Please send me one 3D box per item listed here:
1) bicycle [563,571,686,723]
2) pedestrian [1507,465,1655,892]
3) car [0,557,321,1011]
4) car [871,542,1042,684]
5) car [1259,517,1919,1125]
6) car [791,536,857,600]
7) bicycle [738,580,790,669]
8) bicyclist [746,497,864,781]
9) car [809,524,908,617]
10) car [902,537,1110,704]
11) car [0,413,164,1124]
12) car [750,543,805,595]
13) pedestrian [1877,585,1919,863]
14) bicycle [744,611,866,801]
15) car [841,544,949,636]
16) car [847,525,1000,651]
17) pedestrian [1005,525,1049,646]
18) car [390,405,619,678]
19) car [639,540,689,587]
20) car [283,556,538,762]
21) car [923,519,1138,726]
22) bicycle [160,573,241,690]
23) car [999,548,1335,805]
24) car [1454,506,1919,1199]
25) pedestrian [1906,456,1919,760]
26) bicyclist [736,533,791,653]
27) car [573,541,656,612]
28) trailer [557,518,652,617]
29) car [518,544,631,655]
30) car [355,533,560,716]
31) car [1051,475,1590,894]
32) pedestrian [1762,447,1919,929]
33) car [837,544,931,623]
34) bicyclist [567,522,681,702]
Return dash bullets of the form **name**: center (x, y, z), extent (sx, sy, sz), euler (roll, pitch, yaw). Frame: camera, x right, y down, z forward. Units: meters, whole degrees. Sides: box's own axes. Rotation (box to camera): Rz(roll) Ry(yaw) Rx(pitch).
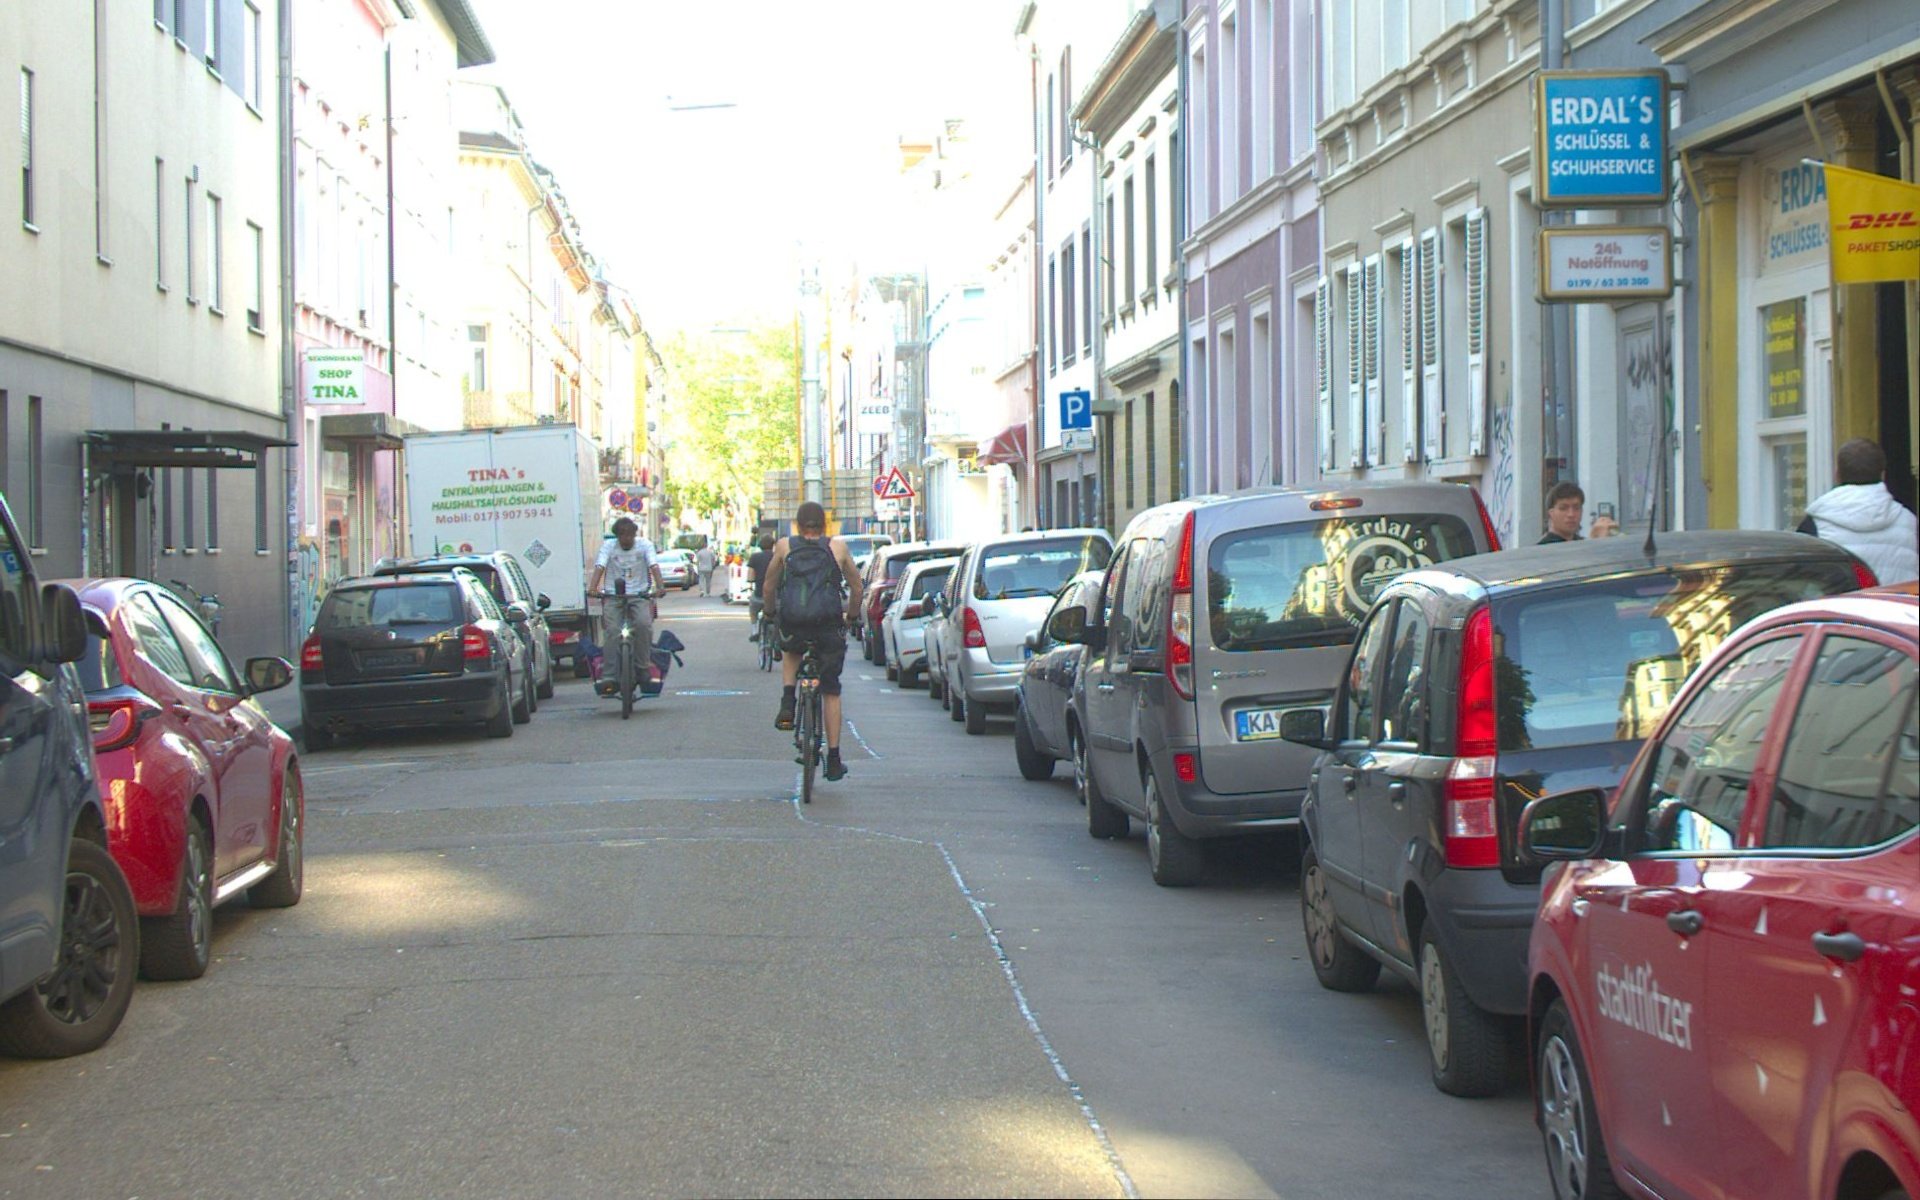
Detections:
- **bicycle**: center (-3.146, 0.415, 32.471), extent (0.977, 1.310, 2.555), euler (-2, 1, -3)
- **pedestrian**: center (2.524, 0.312, 14.019), extent (0.441, 1.698, 0.655), euler (0, 0, -3)
- **car**: center (-3.713, 0.654, 13.673), extent (1.750, 1.517, 3.869), euler (-4, 1, -3)
- **car**: center (-0.089, 0.128, 41.076), extent (1.686, 1.538, 4.047), euler (-3, 1, -4)
- **car**: center (1.974, 0.577, 10.936), extent (1.569, 1.551, 3.314), euler (-4, 1, -2)
- **car**: center (-3.573, -0.837, 89.721), extent (1.611, 1.628, 3.611), euler (0, 0, -4)
- **bicycle**: center (-2.583, 0.305, 45.137), extent (0.648, 1.126, 2.136), euler (0, 0, -4)
- **bicyclist**: center (-0.946, 0.226, 20.770), extent (0.667, 1.671, 1.097), euler (0, 0, -4)
- **car**: center (-2.181, -0.615, 72.707), extent (1.750, 1.872, 3.973), euler (-2, 1, -6)
- **car**: center (0.411, 0.181, 35.598), extent (1.696, 1.538, 4.629), euler (-3, 1, -4)
- **car**: center (-3.515, 0.448, 8.568), extent (2.020, 1.873, 5.297), euler (0, 1, -2)
- **car**: center (-5.648, -0.956, 106.130), extent (1.611, 1.555, 3.611), euler (0, 0, -4)
- **pedestrian**: center (4.392, 0.542, 15.346), extent (0.438, 1.218, 0.514), euler (0, 0, -2)
- **bicycle**: center (-0.955, 0.615, 20.830), extent (0.677, 1.071, 1.942), euler (0, 0, -4)
- **car**: center (-1.195, -0.191, 61.701), extent (1.646, 1.470, 3.971), euler (-5, 1, -4)
- **car**: center (-0.568, -0.204, 49.092), extent (1.918, 1.700, 4.367), euler (-1, 1, -4)
- **pedestrian**: center (1.123, -0.247, 57.709), extent (0.644, 2.007, 0.764), euler (0, 0, -4)
- **car**: center (-5.998, -0.757, 46.196), extent (2.343, 3.280, 7.155), euler (-3, 1, -3)
- **car**: center (-11.110, -1.373, 129.035), extent (1.750, 1.678, 3.796), euler (-2, 1, -4)
- **car**: center (-4.680, 0.443, 29.822), extent (1.716, 1.473, 4.500), euler (-3, 2, -4)
- **car**: center (0.567, 0.175, 30.263), extent (1.556, 1.706, 3.559), euler (0, 0, -4)
- **bicycle**: center (-8.043, 0.319, 36.440), extent (0.490, 1.160, 1.773), euler (-3, 1, -3)
- **car**: center (1.244, 0.440, 22.061), extent (1.552, 1.506, 3.612), euler (0, 0, -6)
- **car**: center (2.097, 0.642, 6.416), extent (1.606, 1.567, 3.554), euler (0, 0, -4)
- **pedestrian**: center (4.171, 0.033, 13.862), extent (0.531, 1.218, 0.513), euler (1, 0, 36)
- **bicyclist**: center (-2.581, -0.090, 45.106), extent (0.671, 1.562, 0.716), euler (0, 0, -6)
- **car**: center (-8.026, -0.558, 80.039), extent (1.750, 1.567, 3.796), euler (-2, 1, -4)
- **trailer**: center (-7.800, -0.711, 75.624), extent (1.881, 2.085, 3.738), euler (-2, 1, -4)
- **car**: center (-6.753, -0.030, 60.520), extent (1.752, 1.810, 4.079), euler (-3, 1, -4)
- **car**: center (-5.165, 0.199, 35.771), extent (1.716, 1.644, 4.247), euler (-3, 2, -4)
- **car**: center (1.607, 0.349, 16.900), extent (1.899, 1.787, 4.316), euler (0, 0, -4)
- **pedestrian**: center (3.296, 0.318, 12.628), extent (0.561, 1.734, 0.428), euler (0, 0, -6)
- **car**: center (-1.527, -0.332, 67.674), extent (1.750, 1.481, 3.800), euler (-2, 1, -2)
- **bicyclist**: center (-3.152, 0.102, 32.361), extent (0.950, 1.622, 0.953), euler (-3, 1, -3)
